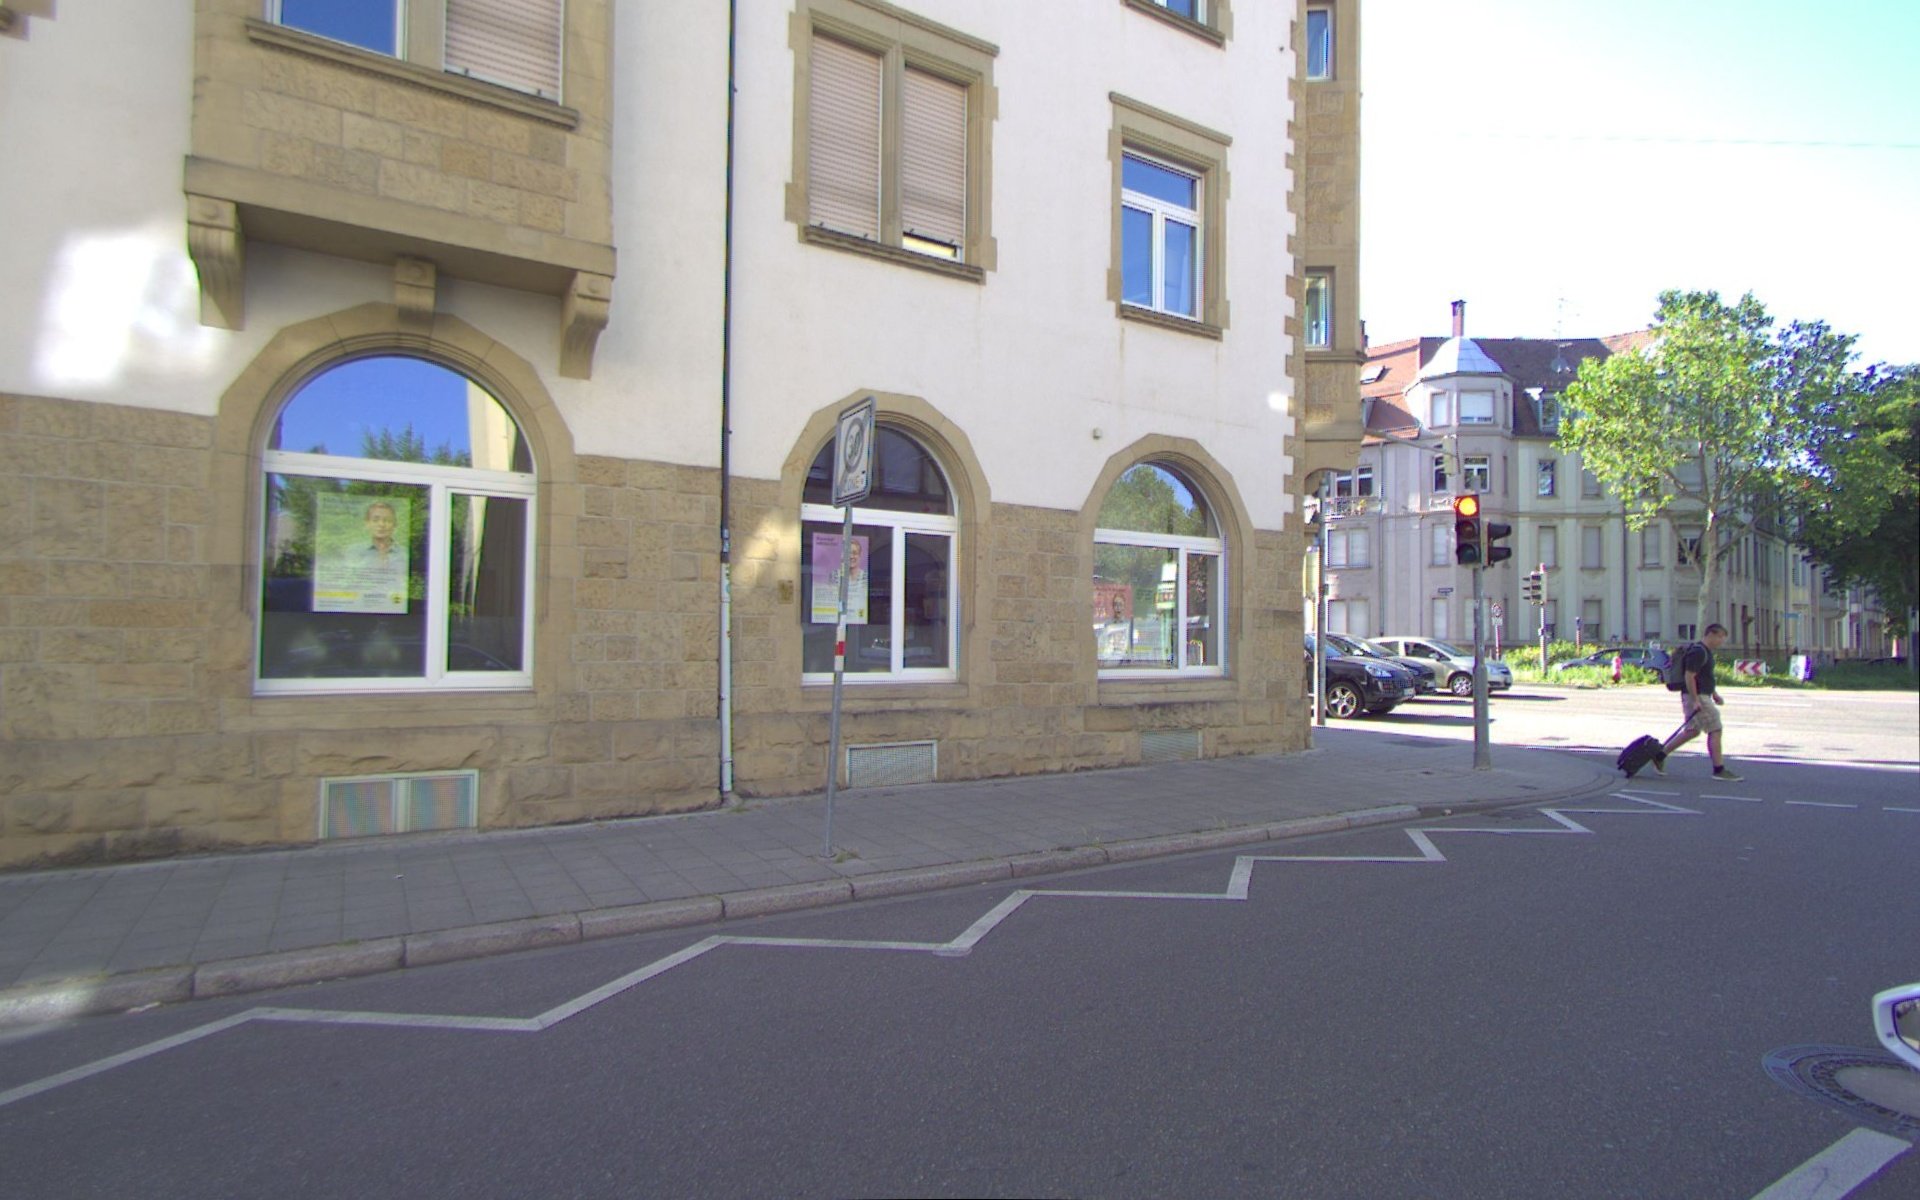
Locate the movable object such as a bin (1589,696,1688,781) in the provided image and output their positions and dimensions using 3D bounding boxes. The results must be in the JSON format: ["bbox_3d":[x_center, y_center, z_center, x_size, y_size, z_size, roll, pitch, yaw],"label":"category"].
[{"bbox_3d":[7.972,1.607,11.813,0.506,0.904,0.854,2,-3,-42],"label":"movable object such as a bin"}]

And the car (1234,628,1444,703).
[{"bbox_3d":[9.308,1.555,24.962,1.719,1.686,4.614,2,-2,-45],"label":"car"}]

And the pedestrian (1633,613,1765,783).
[{"bbox_3d":[8.649,1.121,11.777,0.743,1.872,1.056,2,-4,-42],"label":"pedestrian"}]

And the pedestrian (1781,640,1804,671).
[{"bbox_3d":[39.892,2.660,48.148,0.480,1.461,0.705,2,0,2],"label":"pedestrian"}]

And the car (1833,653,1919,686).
[{"bbox_3d":[45.459,3.402,49.506,1.647,1.476,3.595,2,-2,-44],"label":"car"}]

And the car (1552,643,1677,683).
[{"bbox_3d":[25.326,2.418,38.926,3.893,1.419,1.638,-1,-2,41],"label":"car"}]

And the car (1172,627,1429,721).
[{"bbox_3d":[6.968,1.439,20.831,4.641,1.716,2.068,-1,-2,42],"label":"car"}]

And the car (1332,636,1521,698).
[{"bbox_3d":[12.121,1.683,26.283,1.667,1.476,4.159,1,-2,-45],"label":"car"}]
